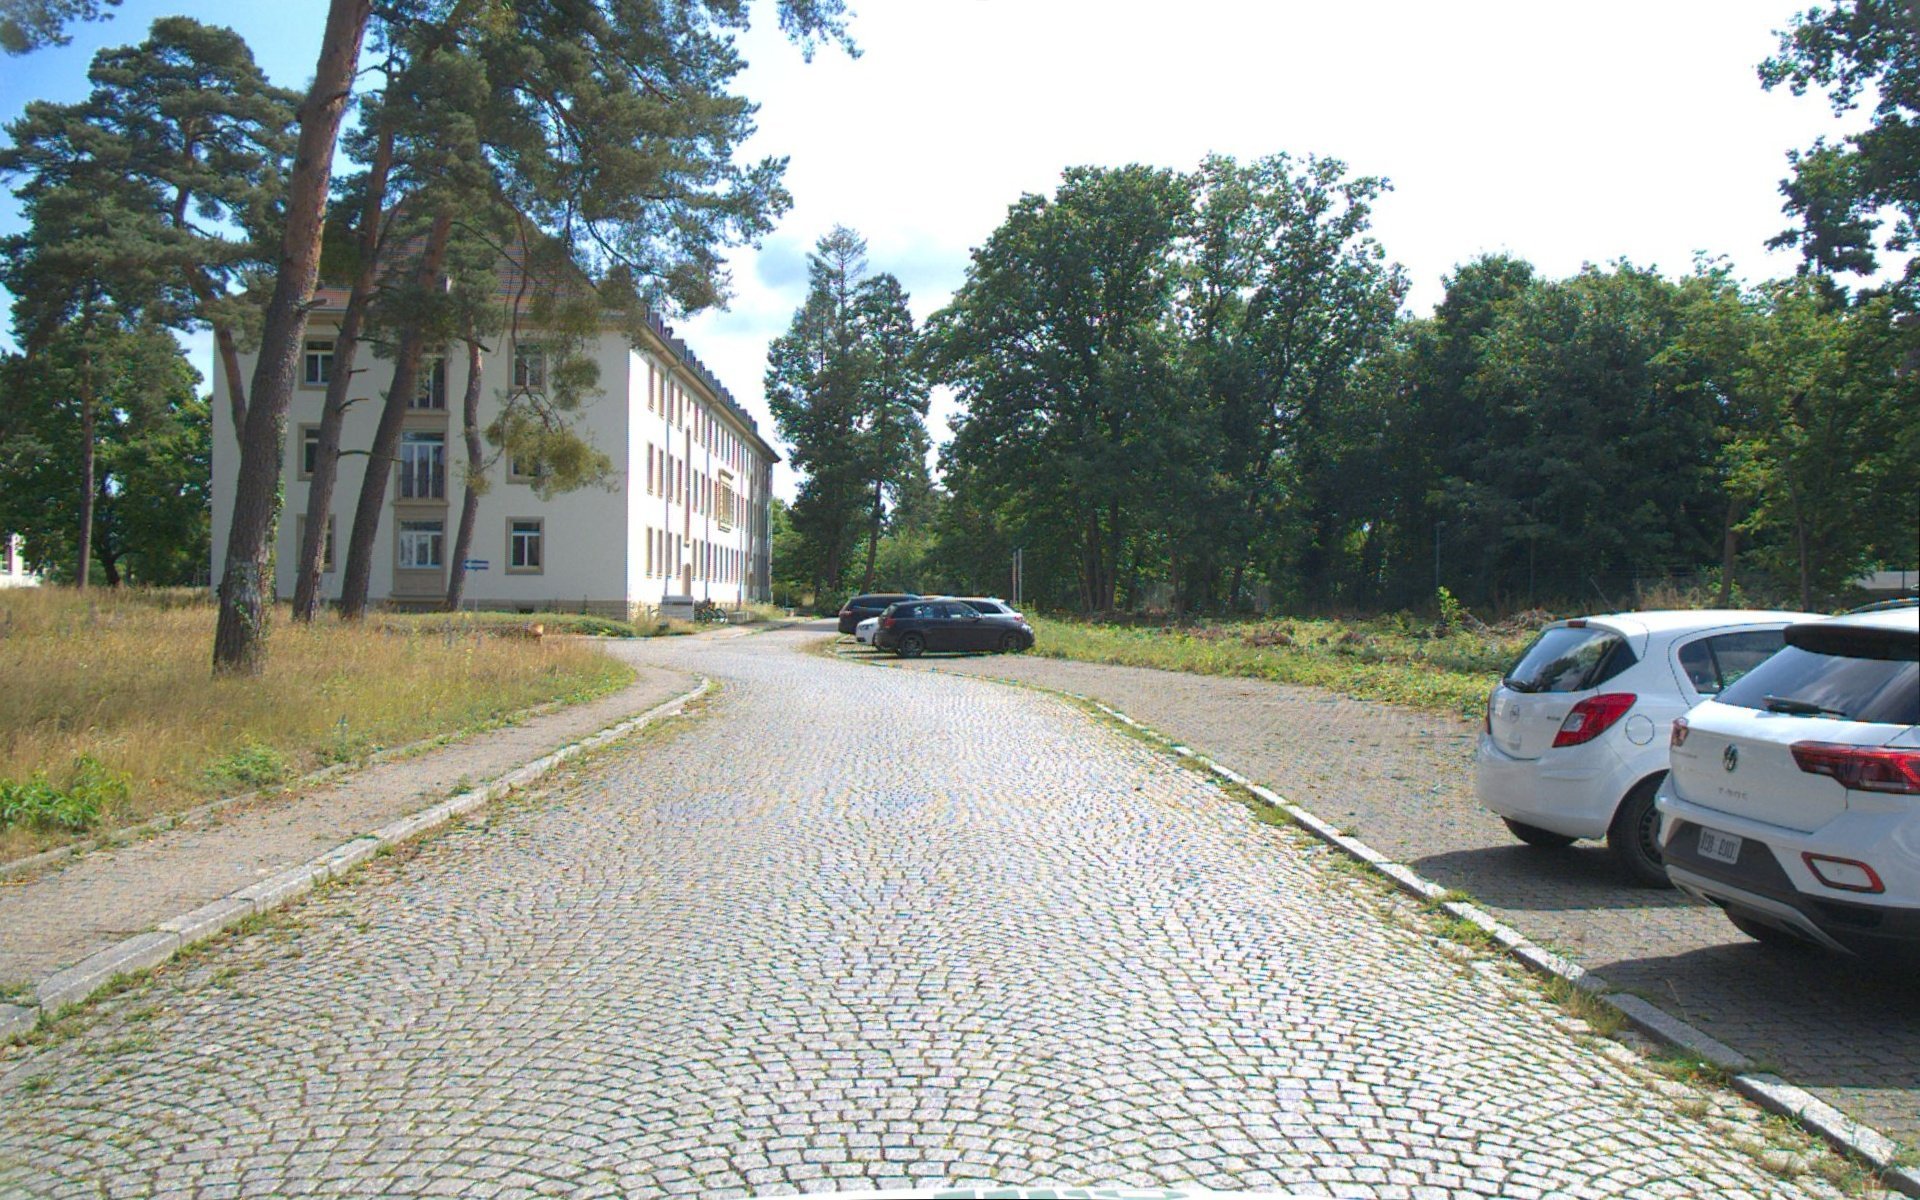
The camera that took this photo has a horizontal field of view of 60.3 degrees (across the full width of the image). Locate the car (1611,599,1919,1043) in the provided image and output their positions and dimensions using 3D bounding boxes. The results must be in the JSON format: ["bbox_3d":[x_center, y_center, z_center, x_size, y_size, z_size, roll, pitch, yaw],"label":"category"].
[{"bbox_3d":[4.991,0.754,6.844,3.909,1.533,1.745,-1,0,-5],"label":"car"}]

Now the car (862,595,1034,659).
[{"bbox_3d":[-0.346,0.676,43.249,4.246,1.526,1.826,-1,1,-10],"label":"car"}]

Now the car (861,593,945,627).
[{"bbox_3d":[-2.802,0.494,81.885,4.101,1.570,1.820,-1,-1,-1],"label":"car"}]

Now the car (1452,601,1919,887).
[{"bbox_3d":[5.206,0.769,9.938,3.963,1.489,1.702,-1,0,-5],"label":"car"}]

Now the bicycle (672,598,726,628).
[{"bbox_3d":[-11.099,0.555,70.447,2.176,1.282,0.623,0,0,0],"label":"bicycle"}]

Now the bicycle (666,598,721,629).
[{"bbox_3d":[-11.186,0.566,69.507,2.175,1.282,0.623,0,0,4],"label":"bicycle"}]

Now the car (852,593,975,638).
[{"bbox_3d":[-1.681,0.561,59.106,4.311,1.510,1.764,-1,-1,-4],"label":"car"}]

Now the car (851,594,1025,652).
[{"bbox_3d":[-0.647,0.638,46.477,4.766,1.498,1.873,-1,1,-4],"label":"car"}]

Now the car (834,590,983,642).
[{"bbox_3d":[-1.693,0.524,53.789,4.756,1.580,1.878,-1,-1,-4],"label":"car"}]

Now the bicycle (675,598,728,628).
[{"bbox_3d":[-11.153,0.555,71.454,2.176,1.282,0.623,0,0,0],"label":"bicycle"}]
